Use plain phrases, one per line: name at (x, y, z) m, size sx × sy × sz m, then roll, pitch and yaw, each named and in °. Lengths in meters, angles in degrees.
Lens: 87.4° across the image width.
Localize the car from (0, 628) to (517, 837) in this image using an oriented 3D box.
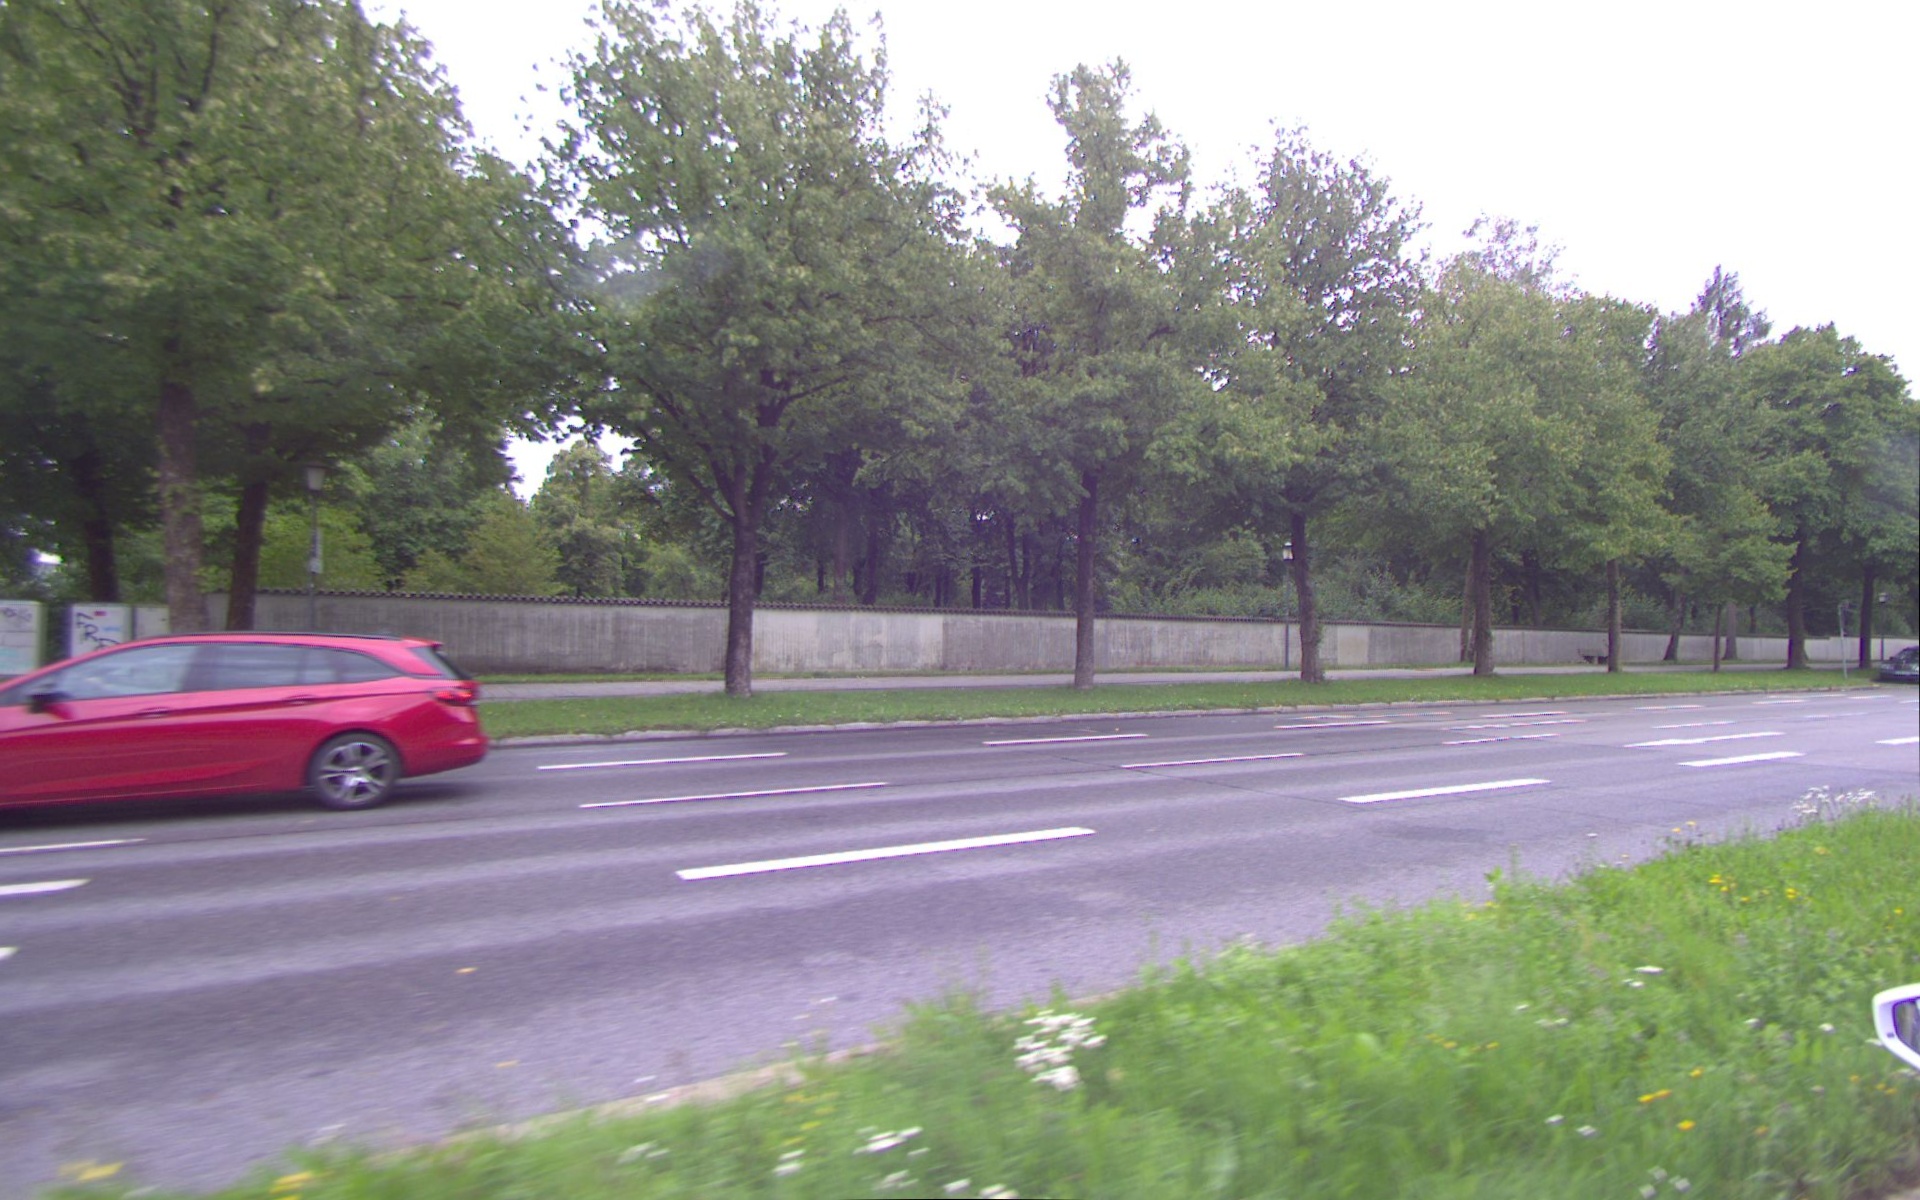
car at (-6.301, 1.005, 8.392) m, size 4.603 × 1.471 × 1.735 m, roll 1°, pitch -4°, yaw -30°

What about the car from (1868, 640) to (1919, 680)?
car at (39.917, 2.470, 41.794) m, size 4.857 × 1.510 × 1.790 m, roll 2°, pitch 0°, yaw -30°
